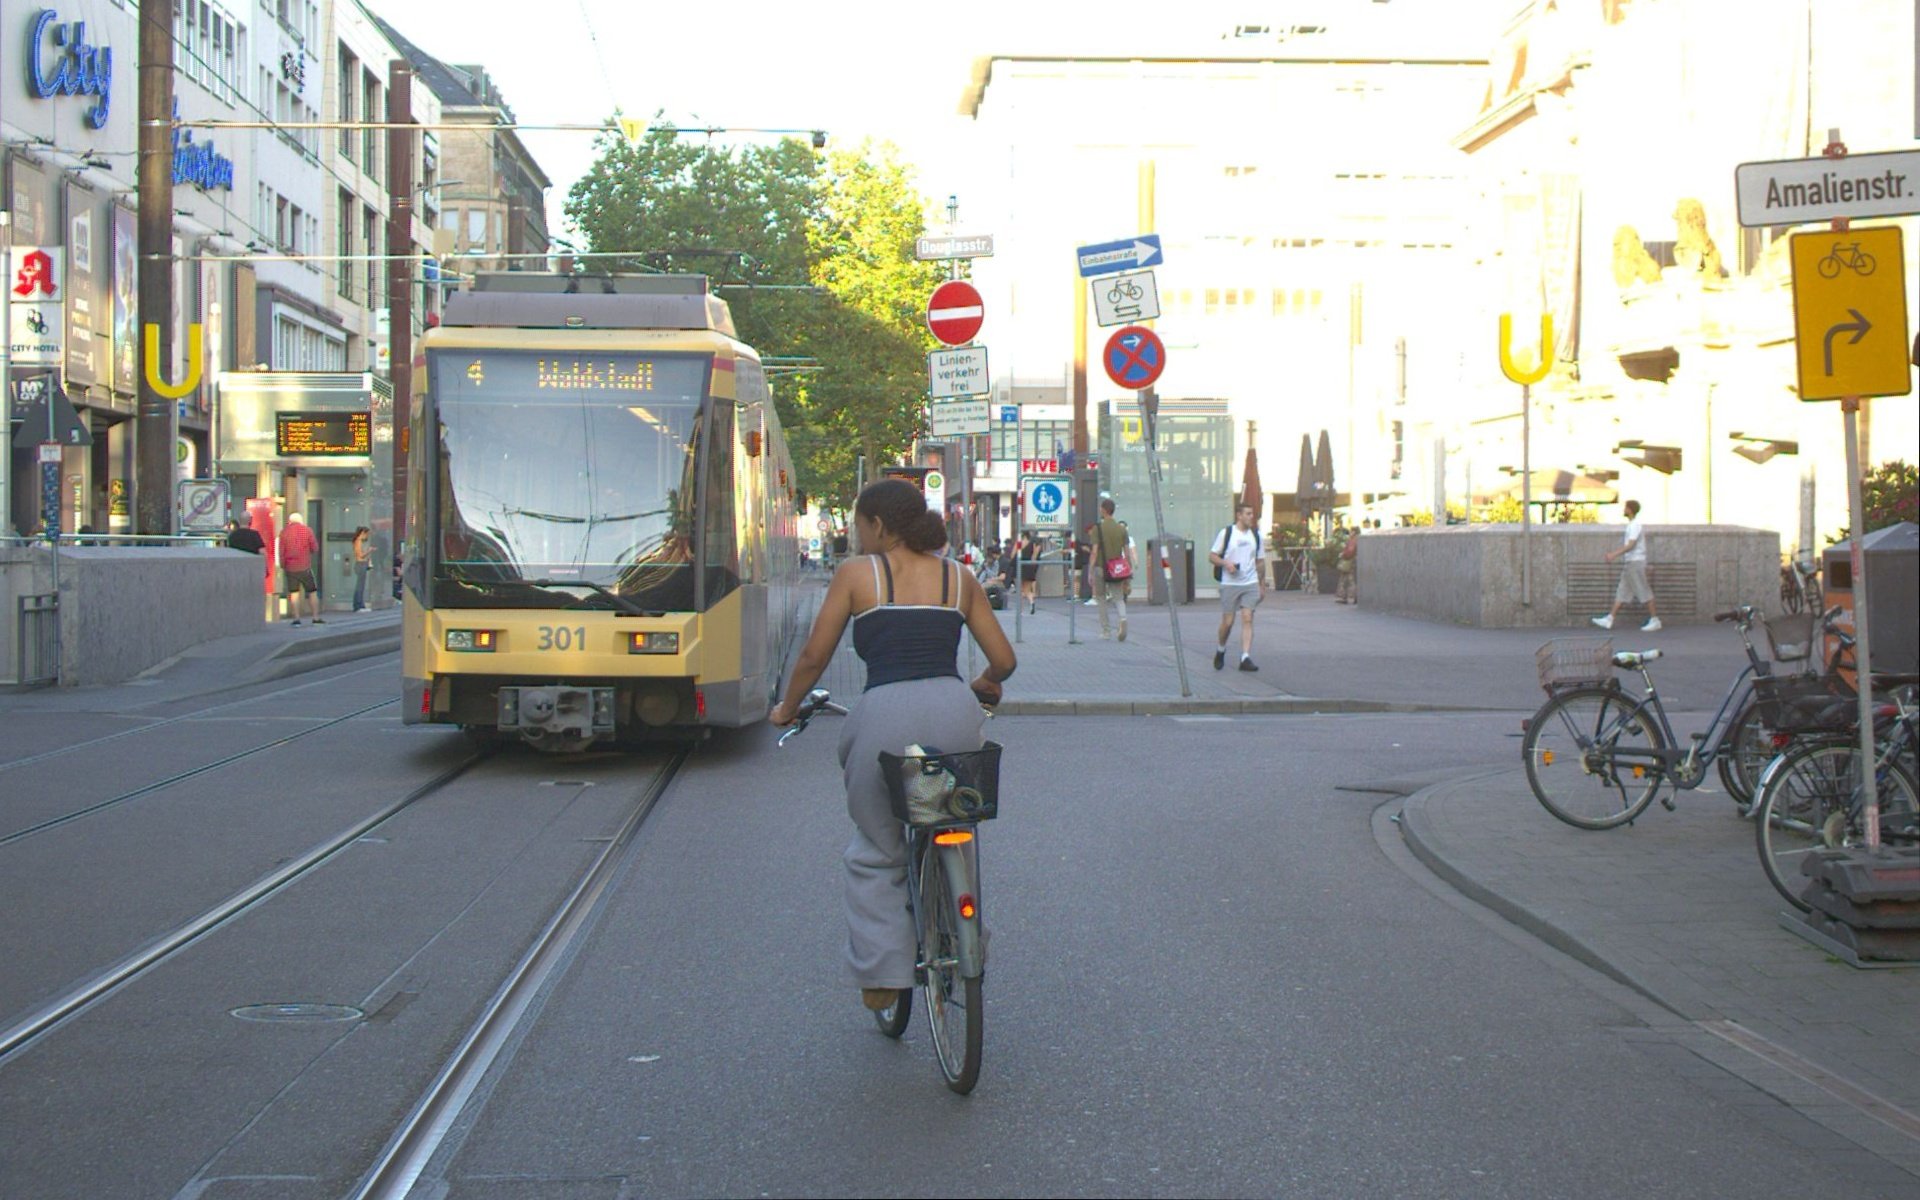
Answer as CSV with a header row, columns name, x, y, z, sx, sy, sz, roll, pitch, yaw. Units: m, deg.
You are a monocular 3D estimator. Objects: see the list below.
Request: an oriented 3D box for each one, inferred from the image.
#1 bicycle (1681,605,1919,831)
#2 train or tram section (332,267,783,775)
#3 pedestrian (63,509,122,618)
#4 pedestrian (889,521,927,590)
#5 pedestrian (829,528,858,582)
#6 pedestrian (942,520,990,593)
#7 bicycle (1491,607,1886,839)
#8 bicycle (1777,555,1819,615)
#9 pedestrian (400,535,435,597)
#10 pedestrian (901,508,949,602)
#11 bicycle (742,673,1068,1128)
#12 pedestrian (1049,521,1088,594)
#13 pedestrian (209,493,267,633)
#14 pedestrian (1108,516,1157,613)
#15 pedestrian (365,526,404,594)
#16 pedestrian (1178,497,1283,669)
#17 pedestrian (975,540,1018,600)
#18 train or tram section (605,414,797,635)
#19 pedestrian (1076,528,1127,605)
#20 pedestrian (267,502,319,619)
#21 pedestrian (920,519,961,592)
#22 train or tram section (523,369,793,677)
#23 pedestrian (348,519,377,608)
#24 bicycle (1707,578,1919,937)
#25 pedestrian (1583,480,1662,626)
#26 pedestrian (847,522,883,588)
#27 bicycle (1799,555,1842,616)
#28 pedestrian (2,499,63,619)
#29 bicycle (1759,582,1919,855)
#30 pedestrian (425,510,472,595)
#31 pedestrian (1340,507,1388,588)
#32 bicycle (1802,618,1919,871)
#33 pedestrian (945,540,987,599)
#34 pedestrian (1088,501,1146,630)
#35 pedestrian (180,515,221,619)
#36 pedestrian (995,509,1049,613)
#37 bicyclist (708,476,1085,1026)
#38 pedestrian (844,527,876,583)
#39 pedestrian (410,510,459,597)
name,x,y,z,sx,sy,sz,roll,pitch,yaw
bicycle,4.761,0.592,17.867,1.852,1.105,0.667,-1,1,-4
train or tram section,-2.996,-0.666,29.700,2.800,3.308,14.510,0,1,-2
pedestrian,-12.713,-0.530,50.365,0.626,1.583,0.605,0,0,-44
pedestrian,-1.259,-1.082,83.213,0.792,1.655,0.769,0,1,10
pedestrian,-3.605,-1.399,106.323,0.767,1.655,0.794,0,1,7
pedestrian,0.127,-0.941,74.813,0.768,1.573,0.793,1,1,27
bicycle,3.730,0.619,17.675,1.852,1.105,0.667,-1,1,-4
bicycle,12.242,-0.224,50.221,0.315,0.864,1.000,-1,1,-3
pedestrian,-11.956,-0.751,75.772,0.707,1.374,0.720,0,0,-3
pedestrian,-0.694,-0.884,67.354,0.733,1.817,0.820,0,1,-16
bicycle,-0.196,0.803,9.957,0.815,1.069,2.114,2,1,-3
pedestrian,2.485,-0.971,78.669,0.792,1.655,0.769,0,1,10
pedestrian,-9.940,-0.510,47.345,0.713,1.918,0.709,0,0,-7
pedestrian,3.297,-0.681,65.909,0.773,1.817,0.940,-1,1,-5
pedestrian,-11.793,-0.820,70.463,0.707,1.374,0.720,0,0,-3
pedestrian,2.989,-0.191,38.093,1.013,1.857,1.043,1,1,-2
pedestrian,0.751,-0.609,70.394,0.792,1.217,0.769,0,1,-6
train or tram section,-4.217,-1.286,58.757,2.800,3.308,14.510,0,1,-2
pedestrian,3.091,-0.738,75.259,0.767,1.655,0.794,-1,1,-43
pedestrian,-9.800,-0.578,50.537,0.713,1.692,0.786,0,0,-8
pedestrian,-0.439,-1.012,78.443,0.792,1.655,0.769,0,1,10
train or tram section,-3.602,-0.980,44.223,2.800,3.308,14.510,0,1,-2
pedestrian,-10.882,-0.669,62.638,0.511,1.612,0.505,0,0,-11
bicycle,4.013,0.579,13.560,1.914,1.328,0.726,-2,1,-6
pedestrian,9.271,-0.660,48.130,0.914,2.007,0.772,1,1,-1
pedestrian,-2.396,-1.143,87.004,0.767,1.655,0.794,0,1,10
bicycle,12.568,-0.220,50.233,0.315,0.864,1.000,-1,1,-3
pedestrian,-13.470,-0.591,49.927,0.605,1.719,0.626,0,0,45
bicycle,4.868,0.523,16.323,1.914,1.218,0.763,-2,1,-6
pedestrian,-10.454,-0.960,70.254,0.707,1.719,0.775,0,0,-31
pedestrian,9.091,-1.185,77.423,0.847,1.817,0.776,0,1,-15
bicycle,4.892,0.612,15.578,1.914,1.074,0.763,-2,1,-6
pedestrian,0.118,-0.628,71.181,0.792,1.217,0.769,0,1,-6
pedestrian,2.104,-0.457,46.096,0.718,1.719,0.709,0,0,-2
pedestrian,-11.696,-0.510,52.976,0.603,1.583,0.628,0,0,-11
pedestrian,1.083,-0.697,60.636,0.733,1.817,0.820,0,1,-16
bicyclist,-0.192,0.410,9.933,0.997,1.497,0.857,2,1,-2
pedestrian,-2.923,-1.321,100.860,0.792,1.655,0.769,0,1,10
pedestrian,-10.503,-0.919,68.687,0.707,1.719,0.775,0,0,-33
